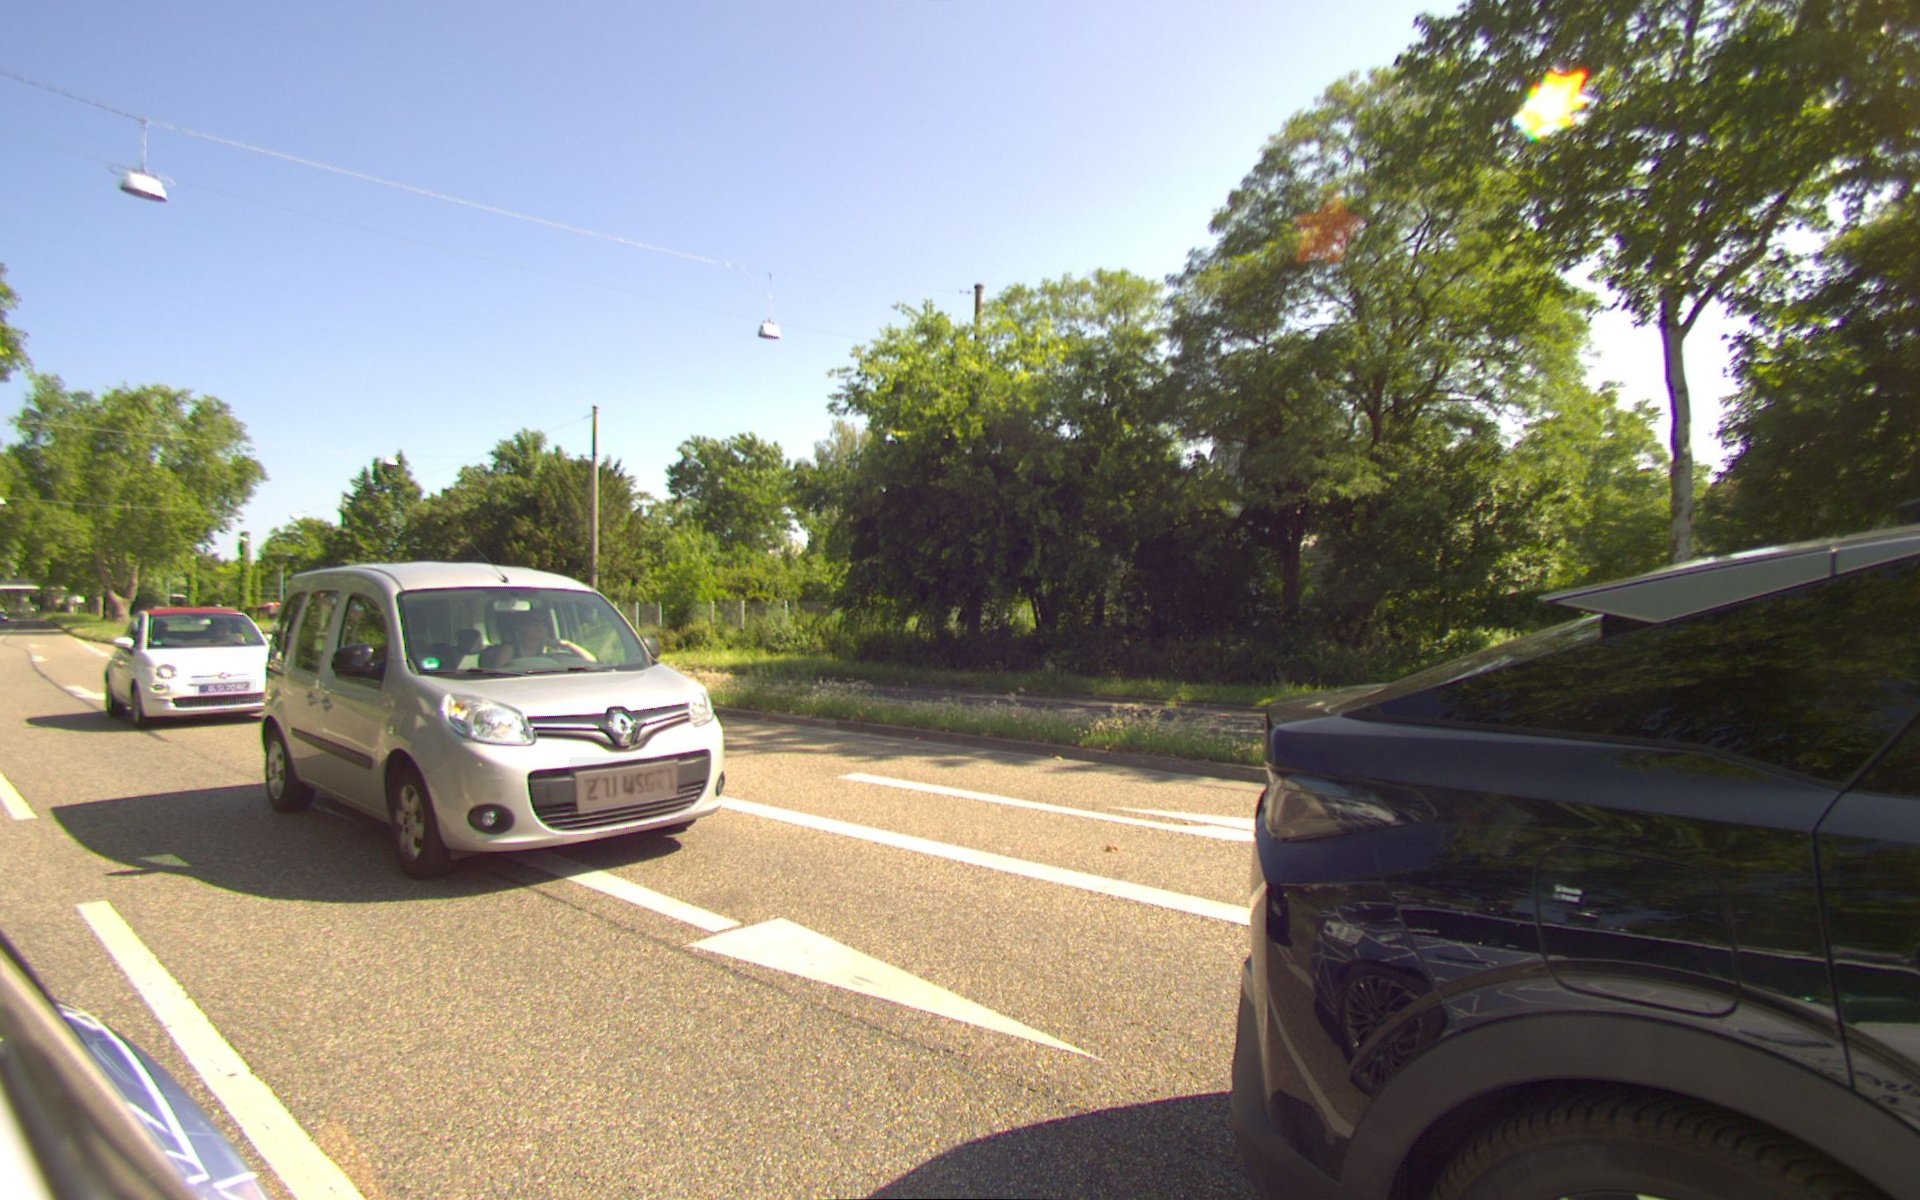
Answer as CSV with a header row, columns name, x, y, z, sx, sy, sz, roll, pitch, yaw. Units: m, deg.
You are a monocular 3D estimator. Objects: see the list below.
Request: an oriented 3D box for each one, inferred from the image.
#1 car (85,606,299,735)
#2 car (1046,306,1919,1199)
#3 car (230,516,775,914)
name,x,y,z,sx,sy,sz,roll,pitch,yaw
car,-10.802,0.864,14.117,4.376,1.502,1.666,-1,0,43
car,2.430,0.526,1.085,4.433,1.709,1.853,-1,-1,41
car,-3.333,0.567,6.906,4.375,1.854,1.852,-1,-1,43
